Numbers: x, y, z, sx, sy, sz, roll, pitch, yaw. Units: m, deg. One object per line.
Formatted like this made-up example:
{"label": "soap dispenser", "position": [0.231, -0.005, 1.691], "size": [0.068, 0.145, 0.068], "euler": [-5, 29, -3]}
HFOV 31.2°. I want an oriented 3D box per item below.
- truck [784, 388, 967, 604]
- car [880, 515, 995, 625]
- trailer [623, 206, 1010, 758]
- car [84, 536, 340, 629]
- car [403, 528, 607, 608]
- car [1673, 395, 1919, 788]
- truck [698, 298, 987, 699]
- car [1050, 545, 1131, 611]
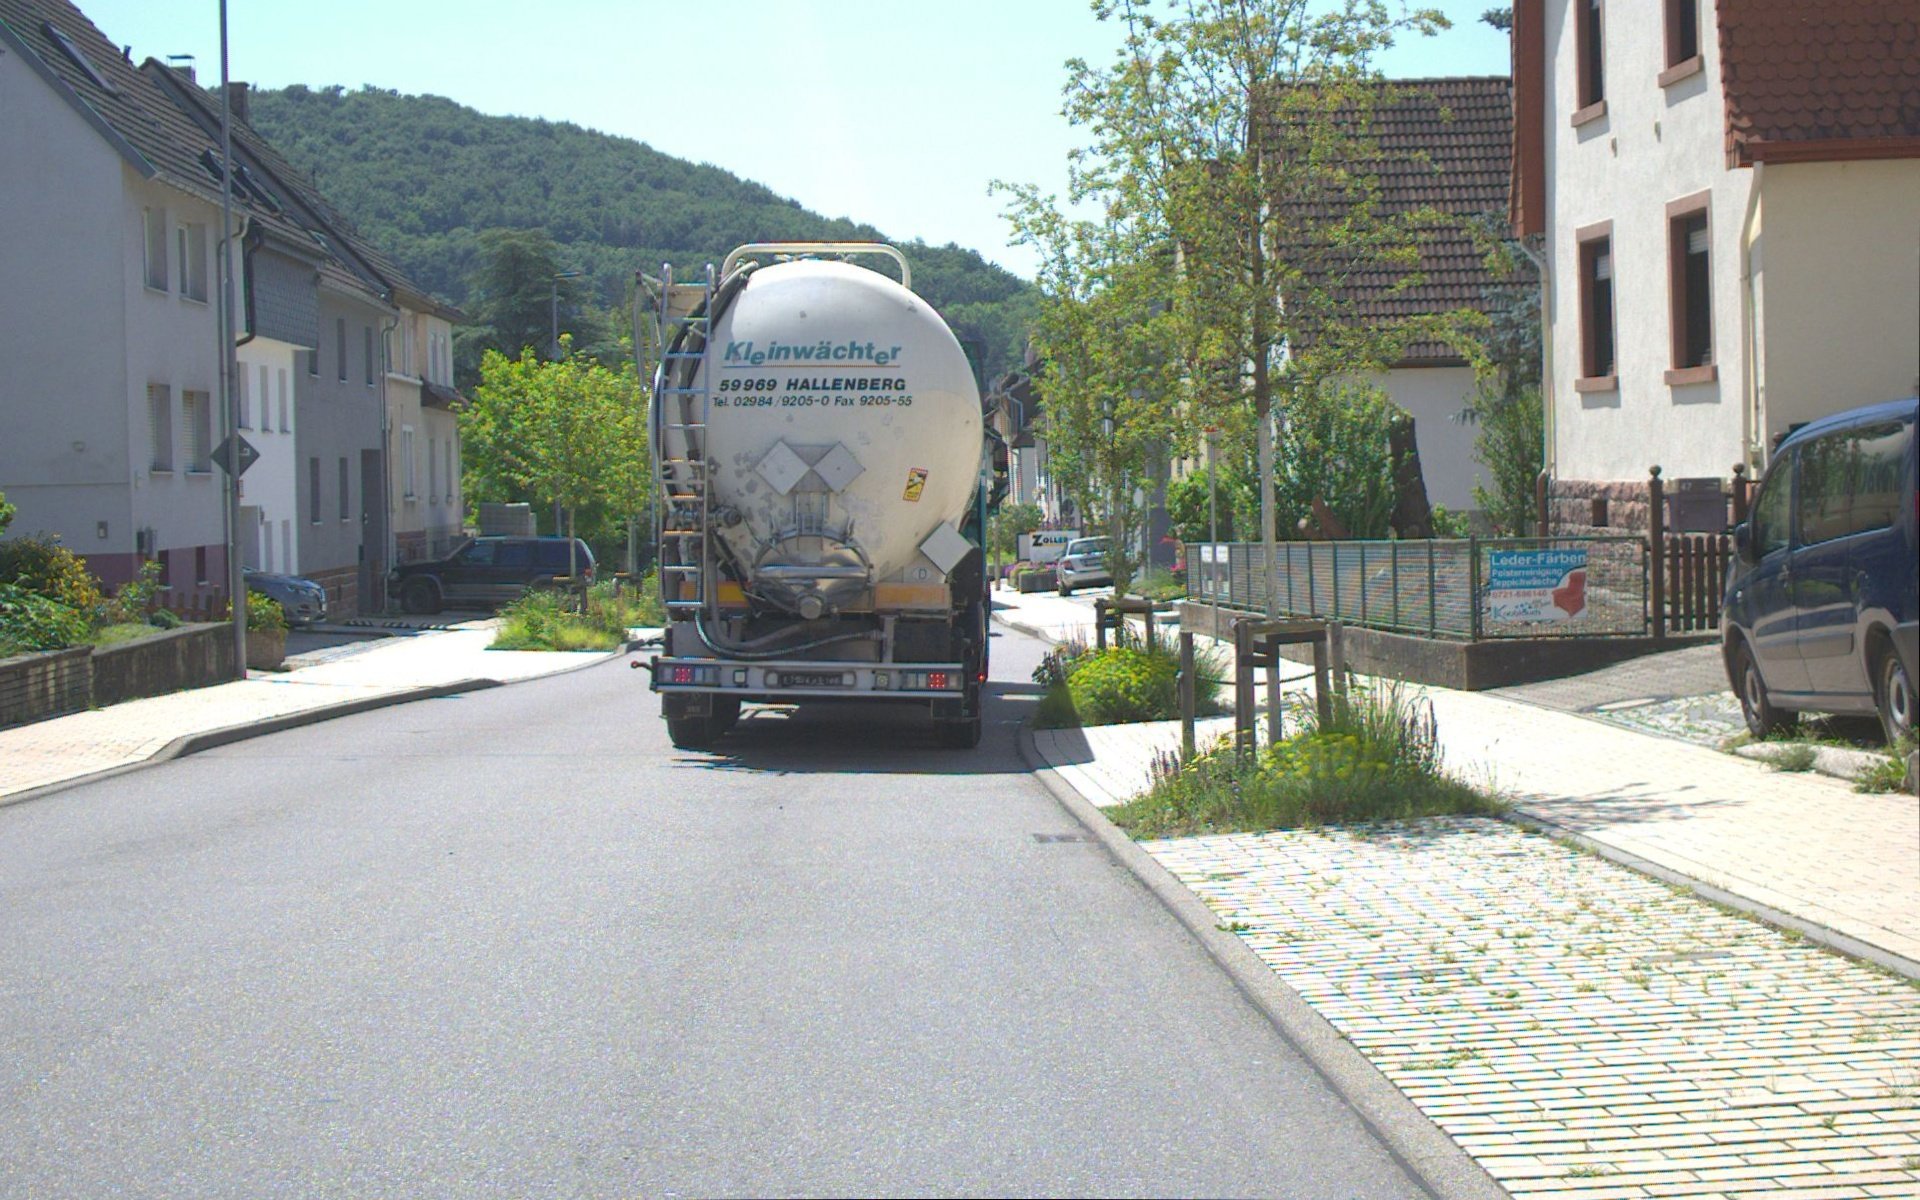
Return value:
{"label": "truck", "position": [-2.199, -2.481, 84.355], "size": [3.910, 4.879, 9.798], "euler": [-2, 1, -4]}
{"label": "car", "position": [-0.420, -0.554, 61.718], "size": [1.993, 1.897, 4.000], "euler": [0, 1, -1]}
{"label": "trailer", "position": [-1.105, -0.929, 30.061], "size": [2.796, 3.987, 10.324], "euler": [0, 1, -1]}
{"label": "car", "position": [-12.685, -0.312, 58.489], "size": [3.987, 1.540, 1.832], "euler": [0, 1, -1]}
{"label": "car", "position": [-10.190, -0.730, 77.225], "size": [4.394, 1.744, 1.878], "euler": [0, 1, -2]}
{"label": "car", "position": [5.604, -0.144, 19.620], "size": [1.852, 1.964, 4.774], "euler": [-5, 1, -1]}
{"label": "truck", "position": [-1.130, -1.037, 36.786], "size": [2.808, 3.923, 6.099], "euler": [0, 1, 1]}
{"label": "car", "position": [3.305, -0.585, 88.026], "size": [1.791, 1.536, 4.520], "euler": [-3, 1, 0]}
